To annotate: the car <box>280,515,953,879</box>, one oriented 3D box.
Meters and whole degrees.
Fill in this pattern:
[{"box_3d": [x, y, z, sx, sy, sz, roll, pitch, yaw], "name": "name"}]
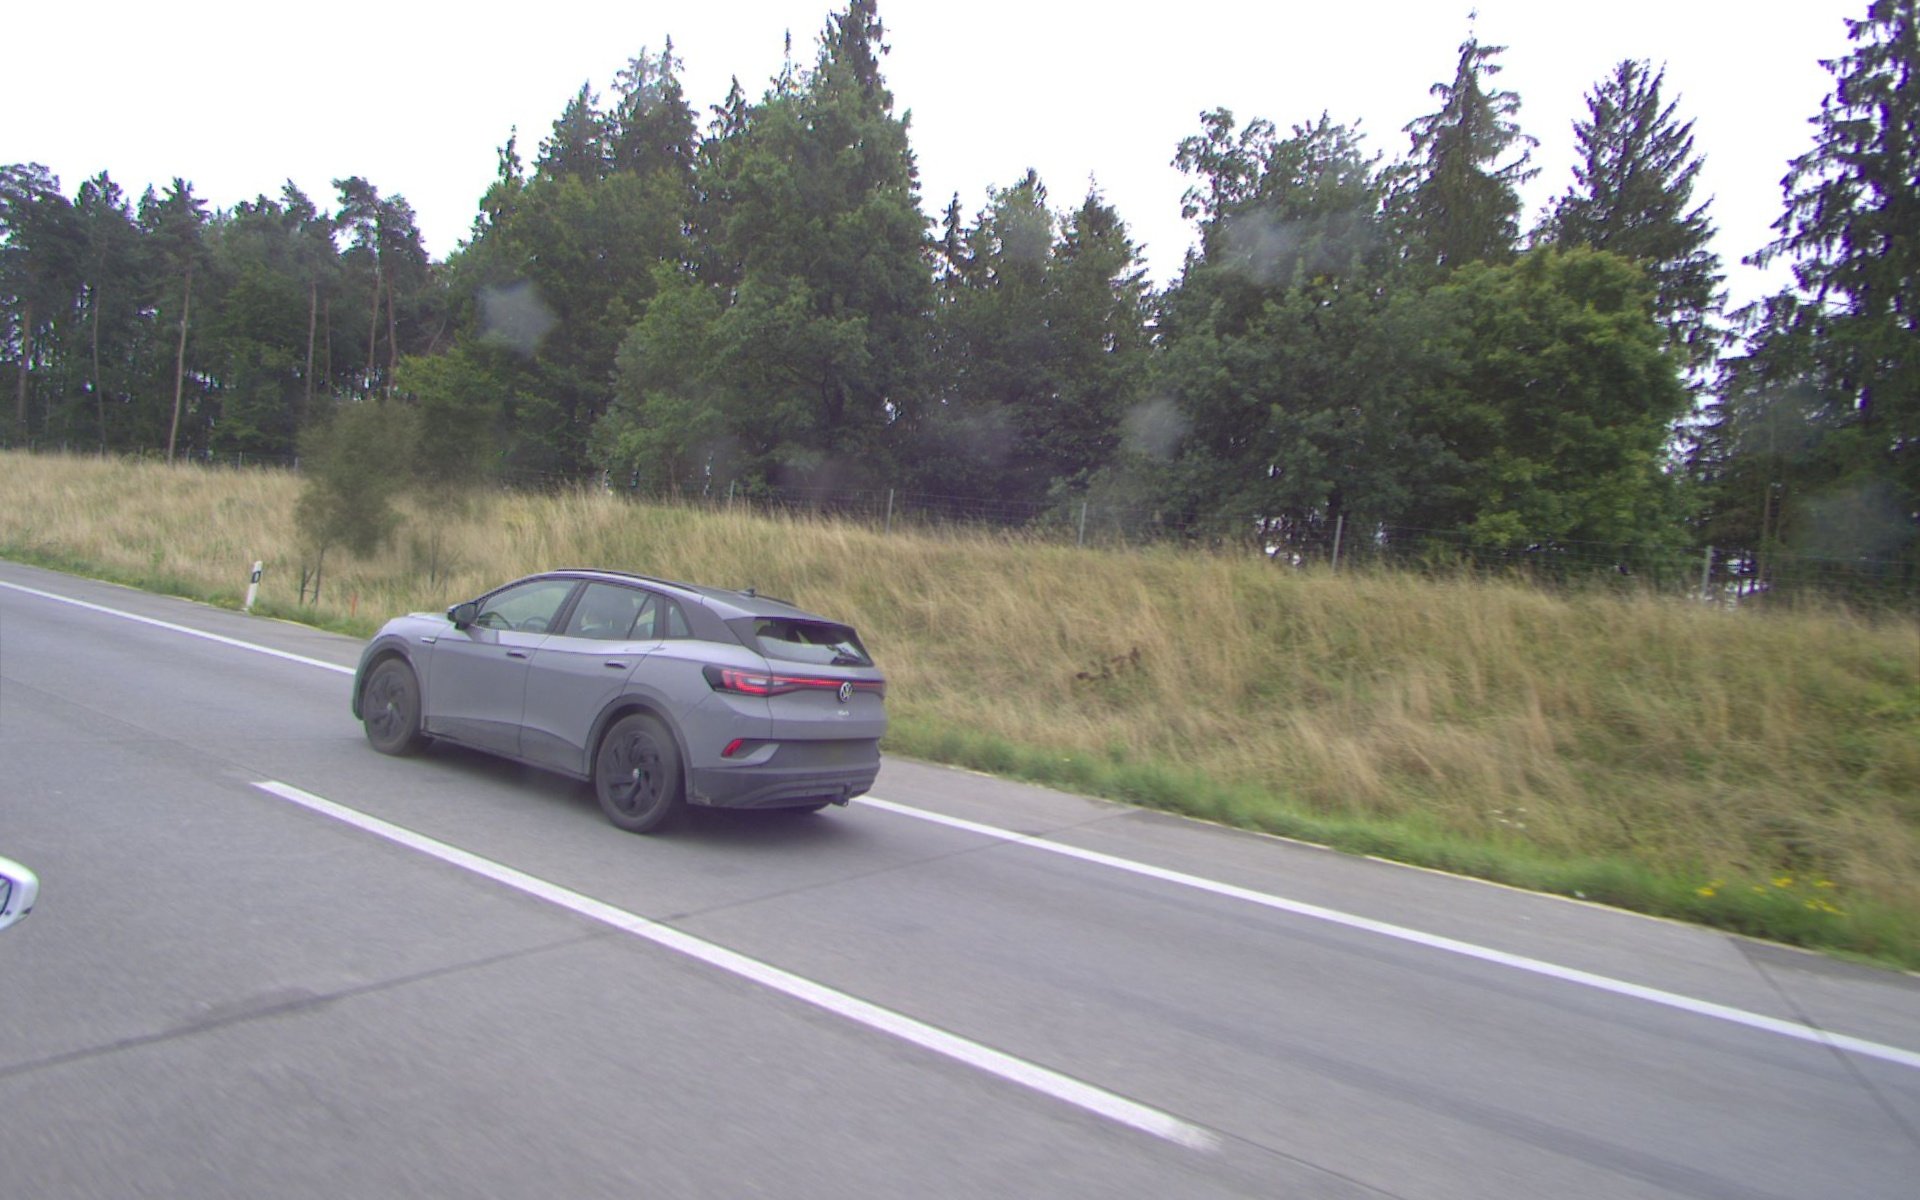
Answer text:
[{"box_3d": [-2.847, 0.532, 7.848, 5.177, 1.709, 1.902, 8, -1, 31], "name": "car"}]
